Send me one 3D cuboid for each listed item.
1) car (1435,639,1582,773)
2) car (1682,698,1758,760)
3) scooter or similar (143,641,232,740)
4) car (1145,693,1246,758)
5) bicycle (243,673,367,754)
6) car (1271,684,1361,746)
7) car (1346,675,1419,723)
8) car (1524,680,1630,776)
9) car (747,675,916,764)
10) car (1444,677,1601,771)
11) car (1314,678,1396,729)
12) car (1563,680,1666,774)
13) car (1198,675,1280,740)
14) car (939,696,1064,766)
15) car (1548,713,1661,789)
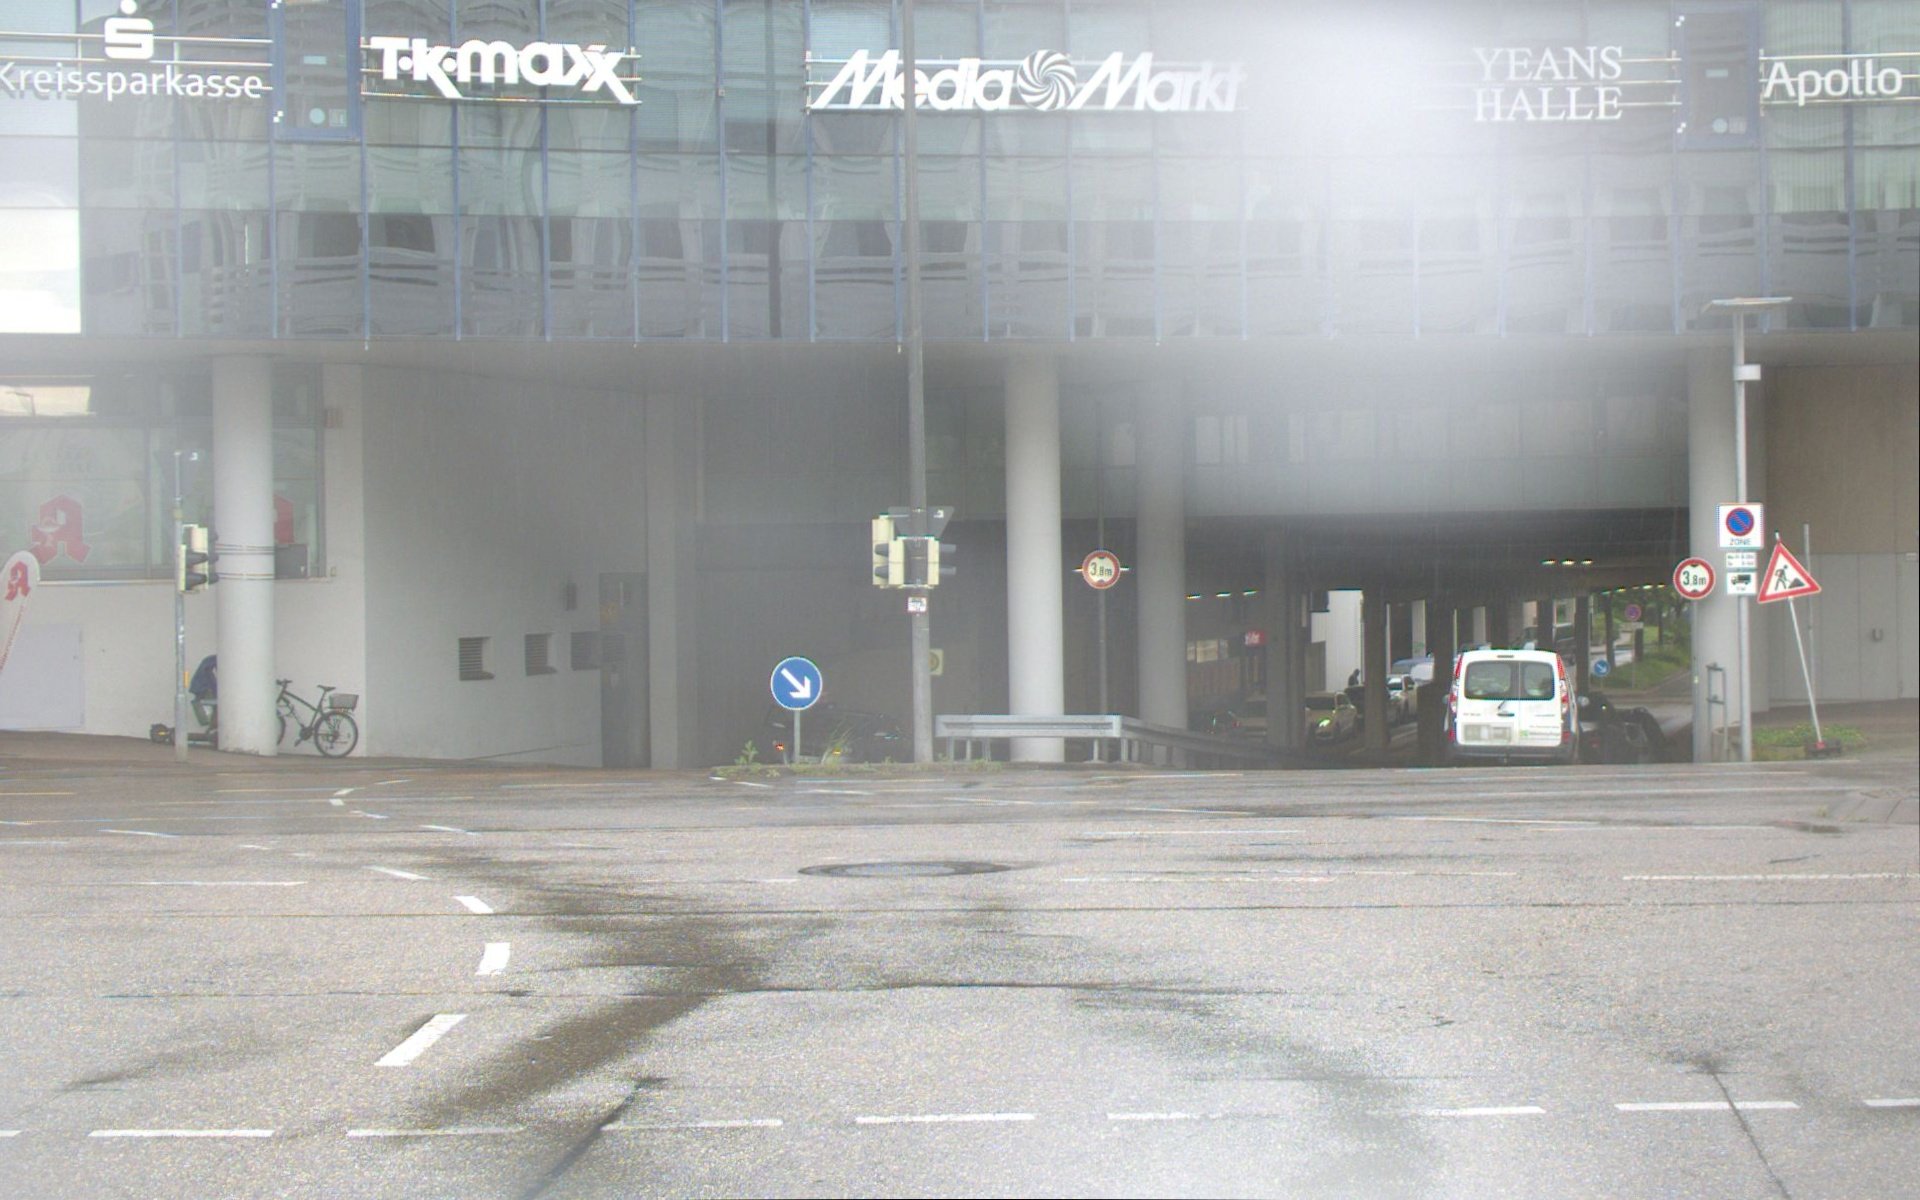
[{"bbox_3d":[7.801,1.480,48.638,1.926,1.791,4.294,-1,-1,10],"label":"car"},{"bbox_3d":[20.120,3.388,90.907,1.889,1.486,3.838,1,0,13],"label":"car"},{"bbox_3d":[-10.836,1.265,48.215,1.166,1.368,0.489,1,0,-15],"label":"scooter or similar"},{"bbox_3d":[6.287,3.318,91.296,1.916,1.582,3.936,-1,-1,15],"label":"car"},{"bbox_3d":[-9.273,1.608,48.707,1.581,1.014,0.452,6,-2,-31],"label":"bicycle"},{"bbox_3d":[10.572,3.394,101.884,1.995,1.658,3.997,1,0,15],"label":"car"},{"bbox_3d":[14.093,3.284,114.602,1.994,1.459,3.998,-1,0,13],"label":"car"},{"bbox_3d":[10.975,2.292,60.984,1.634,1.606,4.259,-2,-3,12],"label":"car"},{"bbox_3d":[-2.299,2.195,62.525,1.894,1.465,4.023,-1,-4,16],"label":"car"},{"bbox_3d":[9.244,2.056,56.307,1.759,1.459,3.938,-2,-3,21],"label":"car"},{"bbox_3d":[12.597,3.286,109.520,1.995,1.459,3.997,-1,0,15],"label":"car"},{"bbox_3d":[13.515,2.595,70.892,1.792,1.764,3.997,-1,-1,14],"label":"car"},{"bbox_3d":[7.829,2.990,96.096,1.837,1.722,3.998,-1,0,11],"label":"car"},{"bbox_3d":[0.926,2.837,74.436,1.772,1.459,3.872,-1,-2,15],"label":"car"},{"bbox_3d":[12.397,2.913,65.983,1.781,1.396,3.996,-1,-3,15],"label":"car"}]
